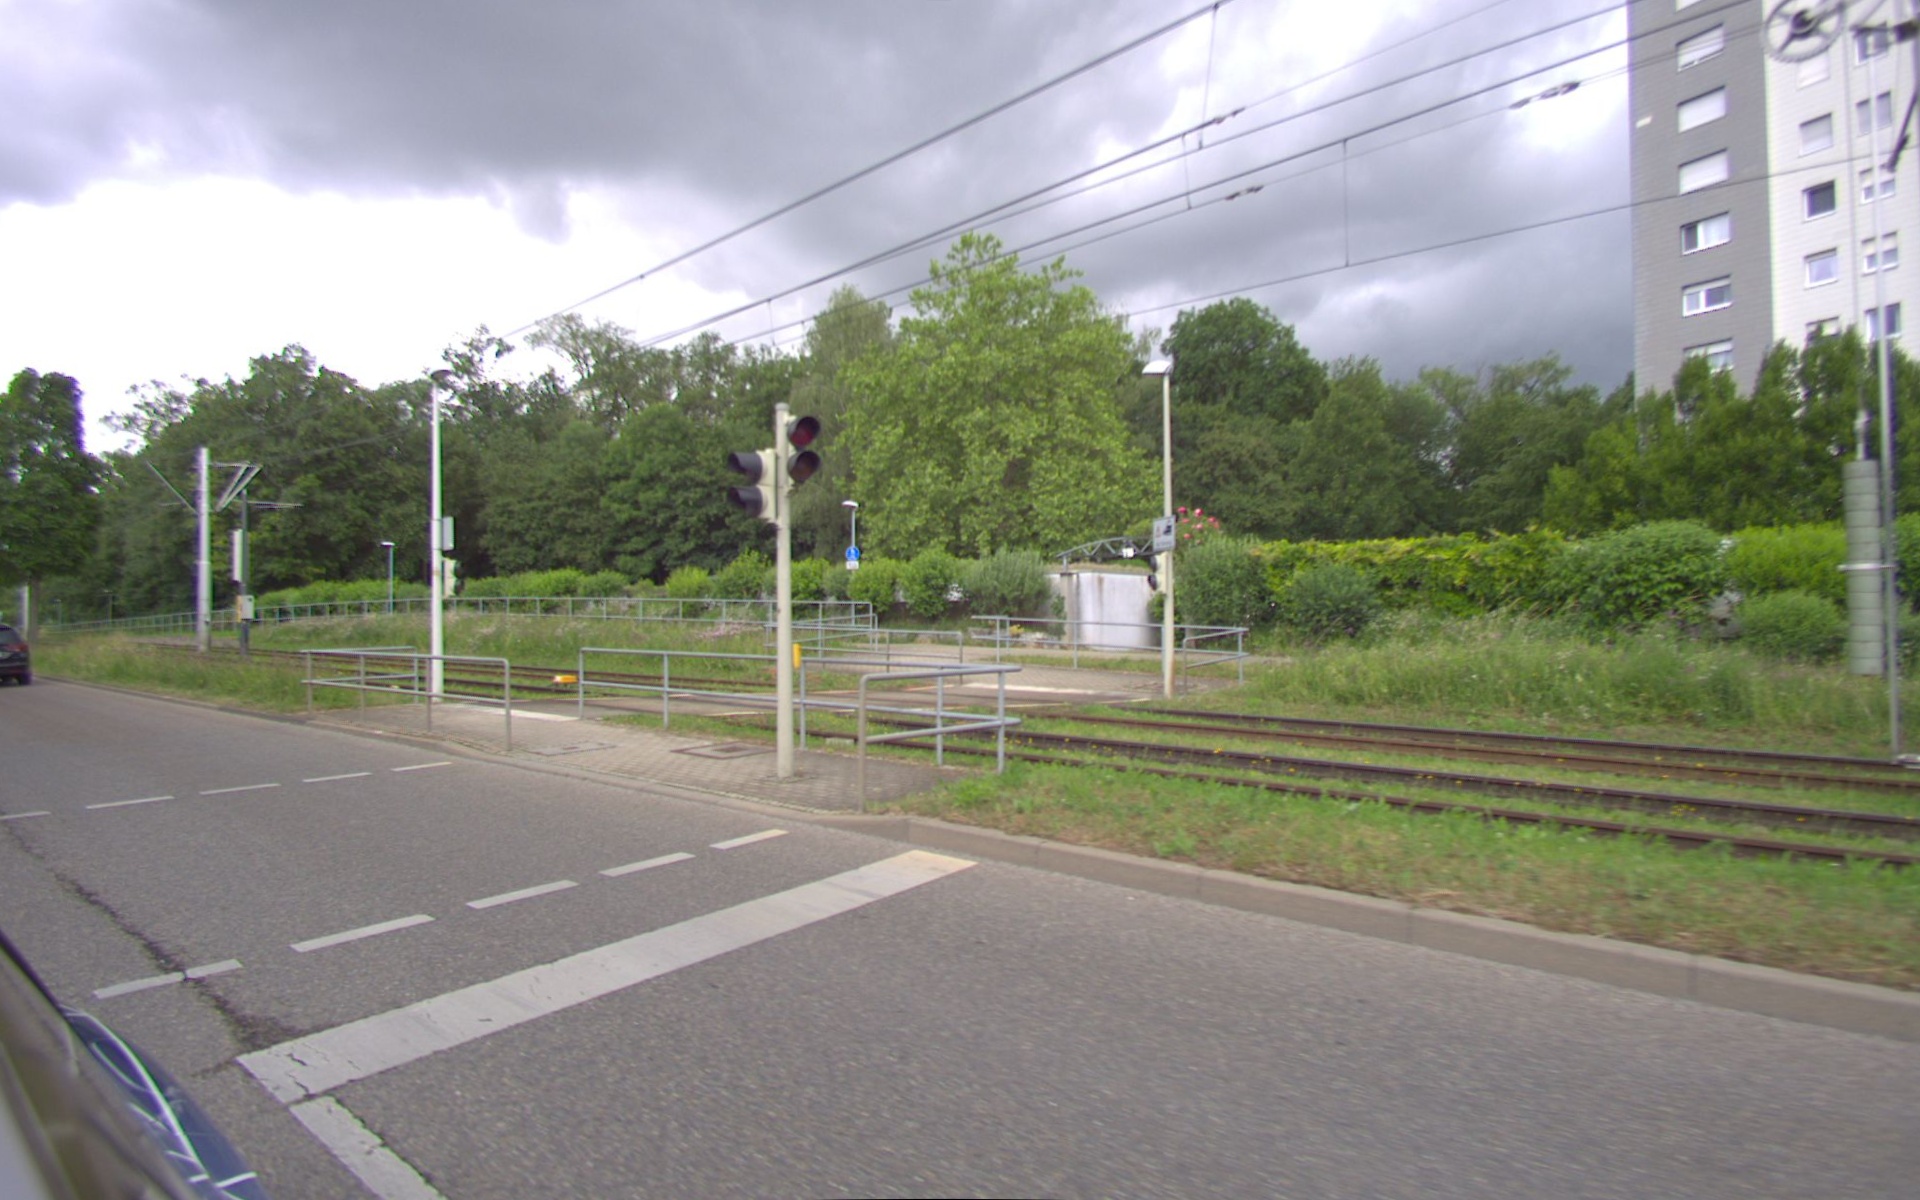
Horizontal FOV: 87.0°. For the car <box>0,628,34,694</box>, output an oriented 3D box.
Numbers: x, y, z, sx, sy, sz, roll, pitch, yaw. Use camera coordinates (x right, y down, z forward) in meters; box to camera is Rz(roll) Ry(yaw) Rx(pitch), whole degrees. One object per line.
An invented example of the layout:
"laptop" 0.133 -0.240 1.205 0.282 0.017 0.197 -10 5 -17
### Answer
"car" -23.594 1.454 24.064 4.253 1.481 1.831 -3 -2 40
